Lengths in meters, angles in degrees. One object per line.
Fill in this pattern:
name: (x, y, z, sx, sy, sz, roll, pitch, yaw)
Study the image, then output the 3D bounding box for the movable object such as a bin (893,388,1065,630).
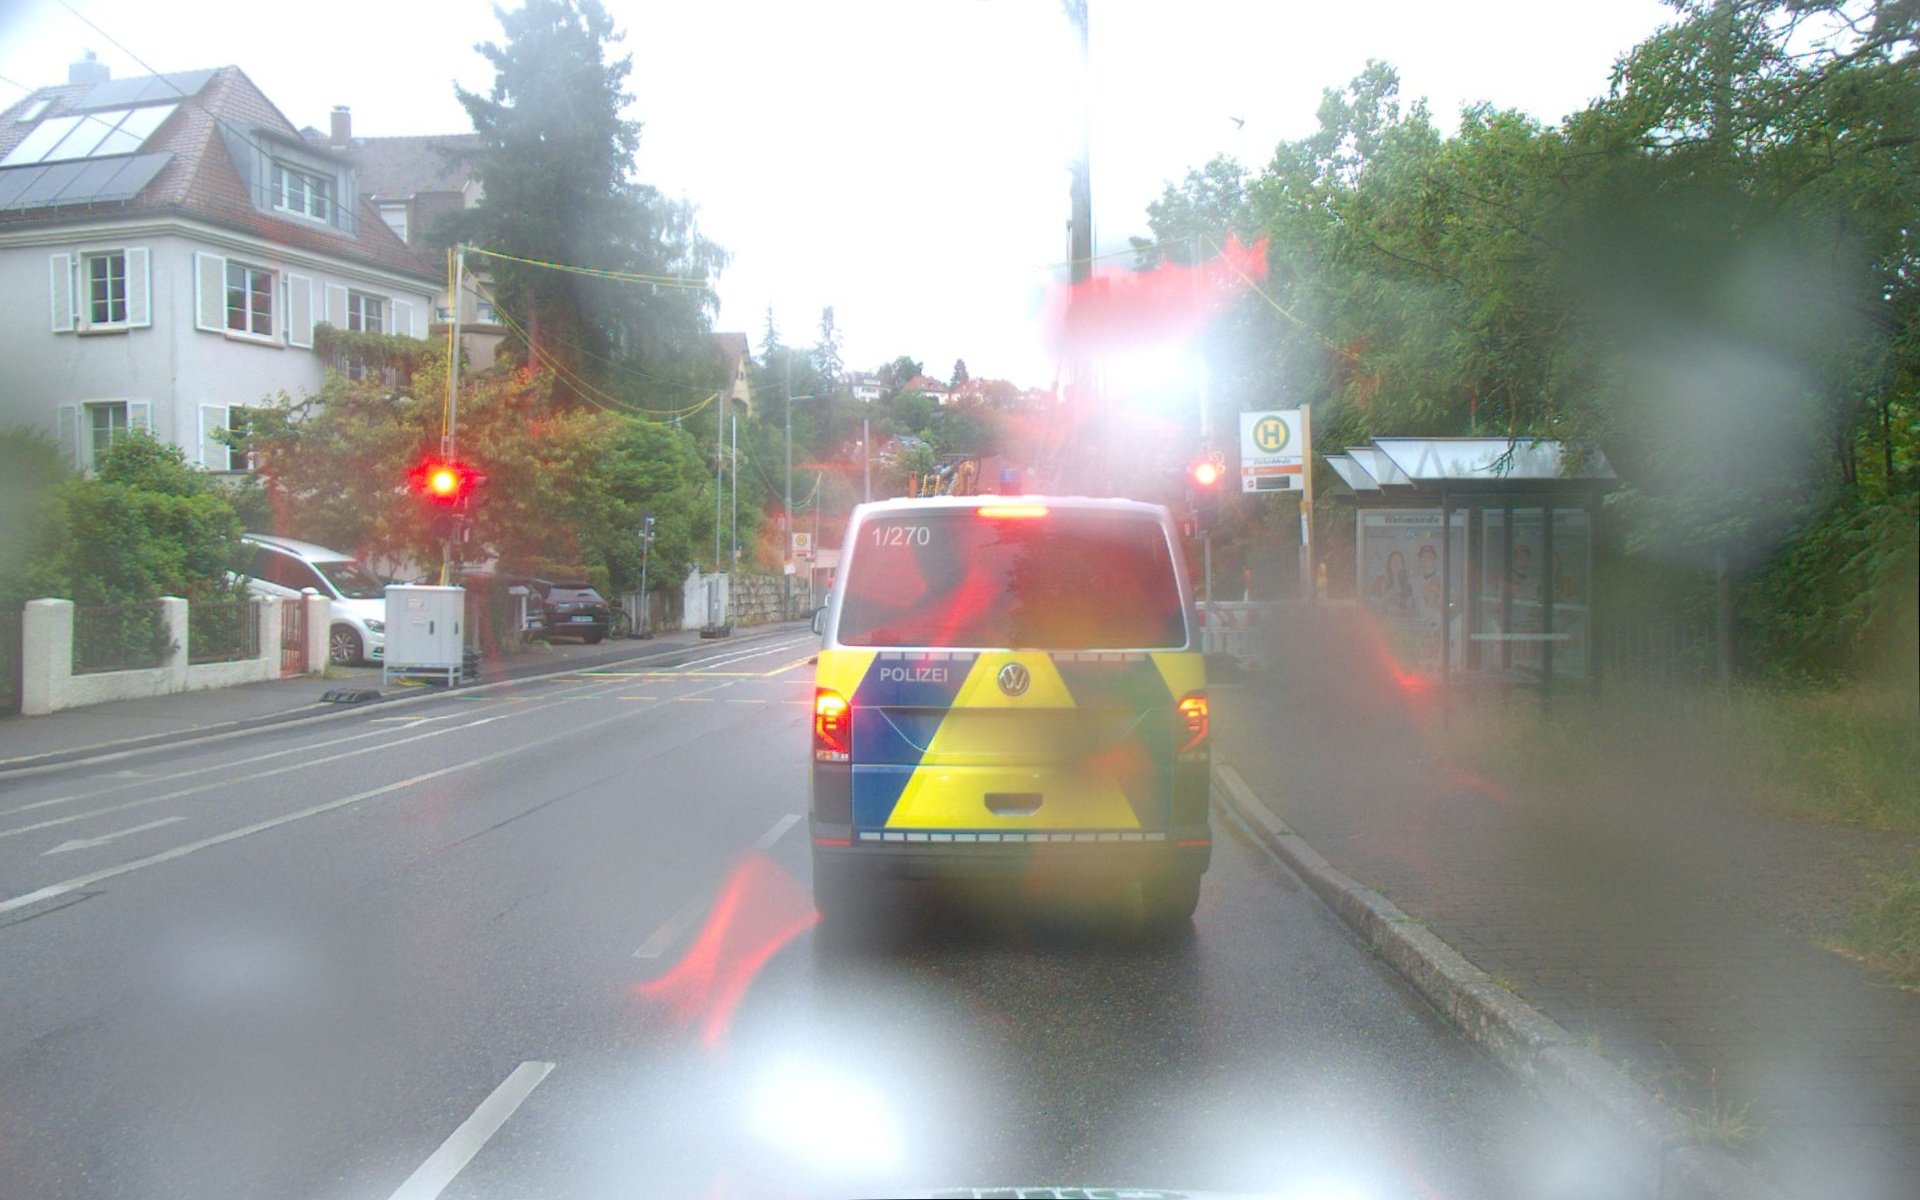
movable object such as a bin: (0.479, -1.651, 31.611, 2.817, 4.243, 4.491, -1, 1, 6)

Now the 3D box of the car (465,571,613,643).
car: (-9.598, 0.136, 37.558, 1.769, 1.552, 3.943, 1, 0, -39)

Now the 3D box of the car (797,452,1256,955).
car: (0.247, 0.437, 9.049, 1.869, 2.046, 4.438, 1, 0, -1)

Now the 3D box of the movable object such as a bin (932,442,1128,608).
movable object such as a bin: (2.491, -2.367, 55.910, 3.615, 5.155, 7.147, -1, -1, 31)

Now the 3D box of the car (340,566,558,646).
car: (-10.662, 0.123, 34.627, 3.902, 1.552, 1.942, 1, 0, 12)

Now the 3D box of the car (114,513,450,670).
car: (-11.262, -0.178, 27.551, 4.865, 1.642, 1.865, 11, 4, 13)
